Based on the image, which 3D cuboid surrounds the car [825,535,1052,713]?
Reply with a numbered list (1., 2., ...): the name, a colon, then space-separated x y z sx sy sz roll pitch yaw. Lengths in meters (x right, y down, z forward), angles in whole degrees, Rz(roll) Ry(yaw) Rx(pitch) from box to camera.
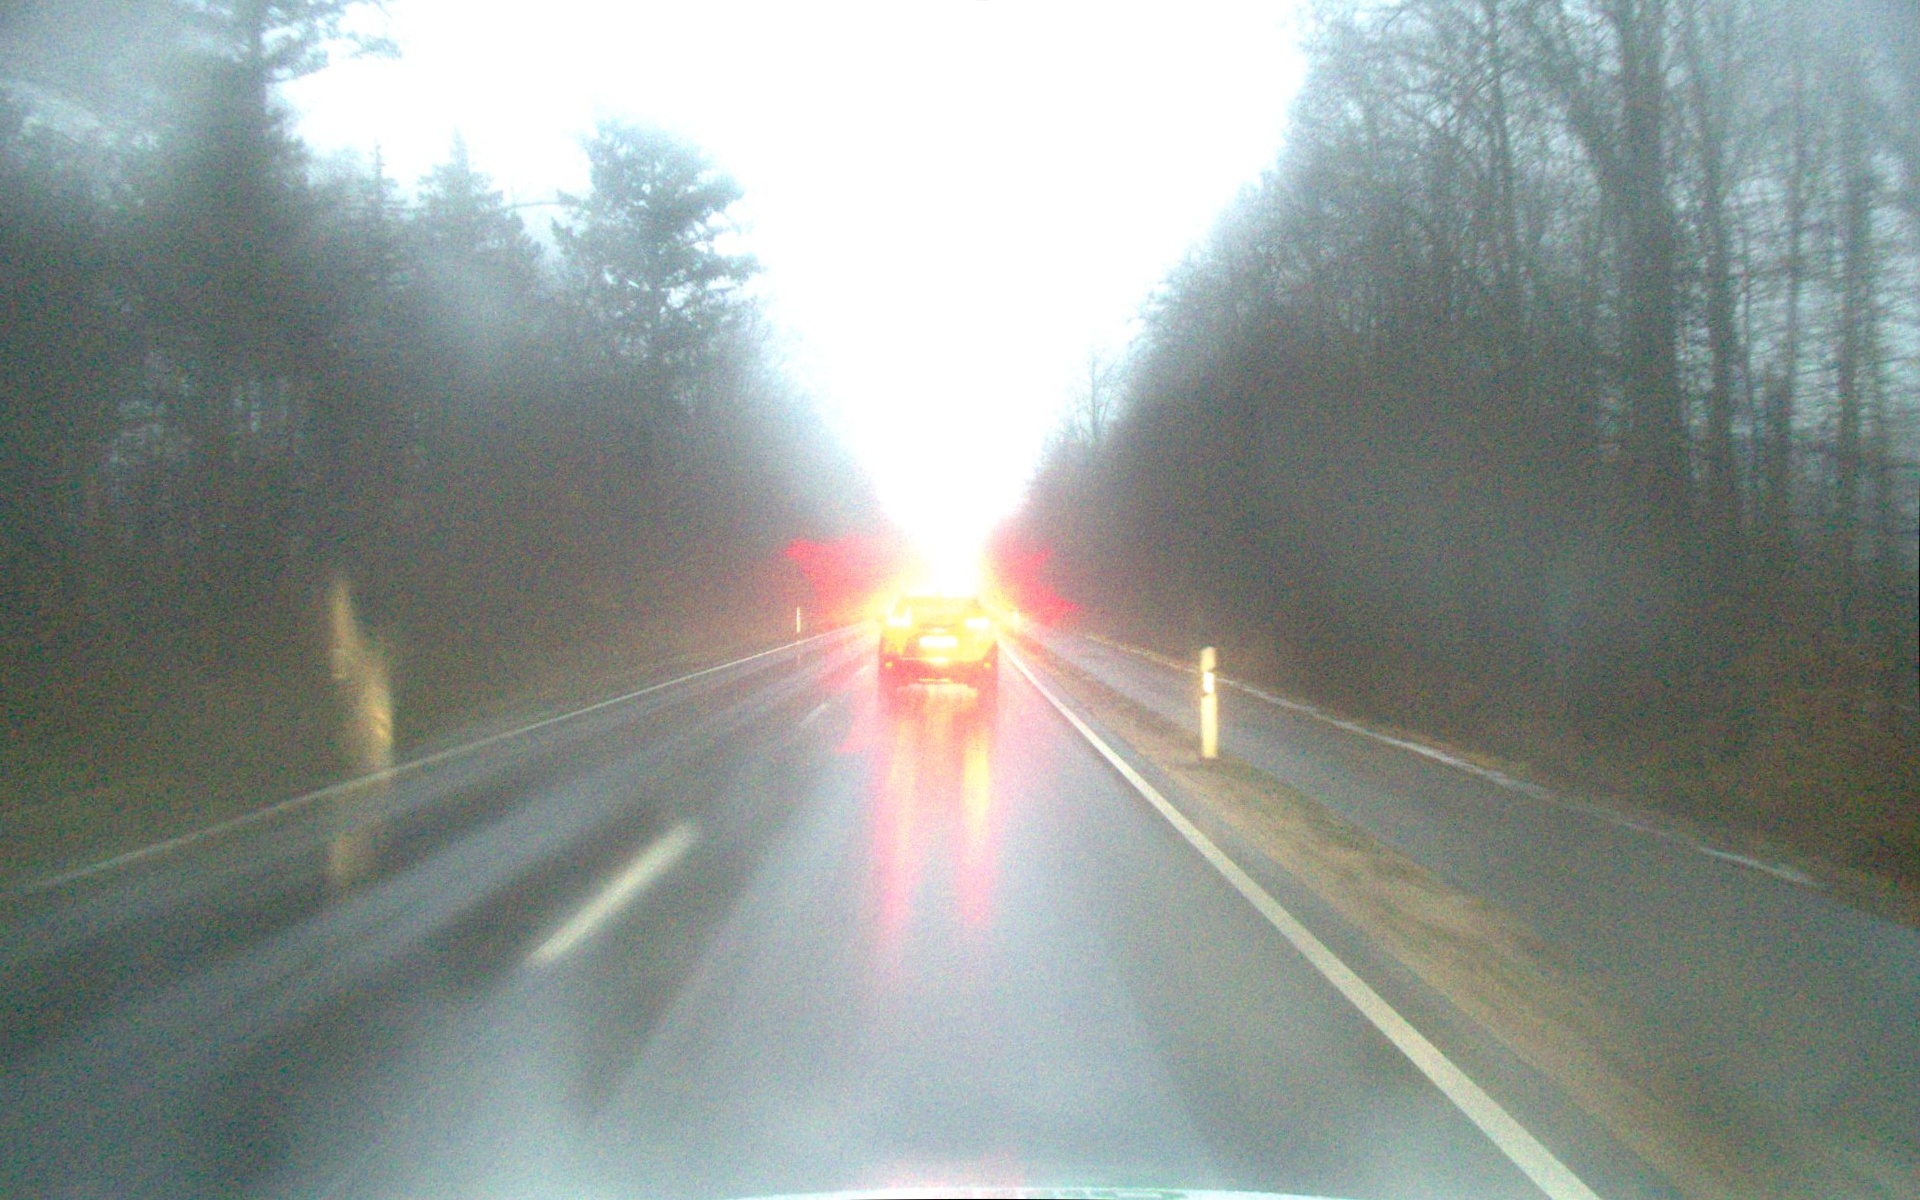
1. car: -0.321 0.319 26.290 3.118 2.428 6.635 1 0 -1
